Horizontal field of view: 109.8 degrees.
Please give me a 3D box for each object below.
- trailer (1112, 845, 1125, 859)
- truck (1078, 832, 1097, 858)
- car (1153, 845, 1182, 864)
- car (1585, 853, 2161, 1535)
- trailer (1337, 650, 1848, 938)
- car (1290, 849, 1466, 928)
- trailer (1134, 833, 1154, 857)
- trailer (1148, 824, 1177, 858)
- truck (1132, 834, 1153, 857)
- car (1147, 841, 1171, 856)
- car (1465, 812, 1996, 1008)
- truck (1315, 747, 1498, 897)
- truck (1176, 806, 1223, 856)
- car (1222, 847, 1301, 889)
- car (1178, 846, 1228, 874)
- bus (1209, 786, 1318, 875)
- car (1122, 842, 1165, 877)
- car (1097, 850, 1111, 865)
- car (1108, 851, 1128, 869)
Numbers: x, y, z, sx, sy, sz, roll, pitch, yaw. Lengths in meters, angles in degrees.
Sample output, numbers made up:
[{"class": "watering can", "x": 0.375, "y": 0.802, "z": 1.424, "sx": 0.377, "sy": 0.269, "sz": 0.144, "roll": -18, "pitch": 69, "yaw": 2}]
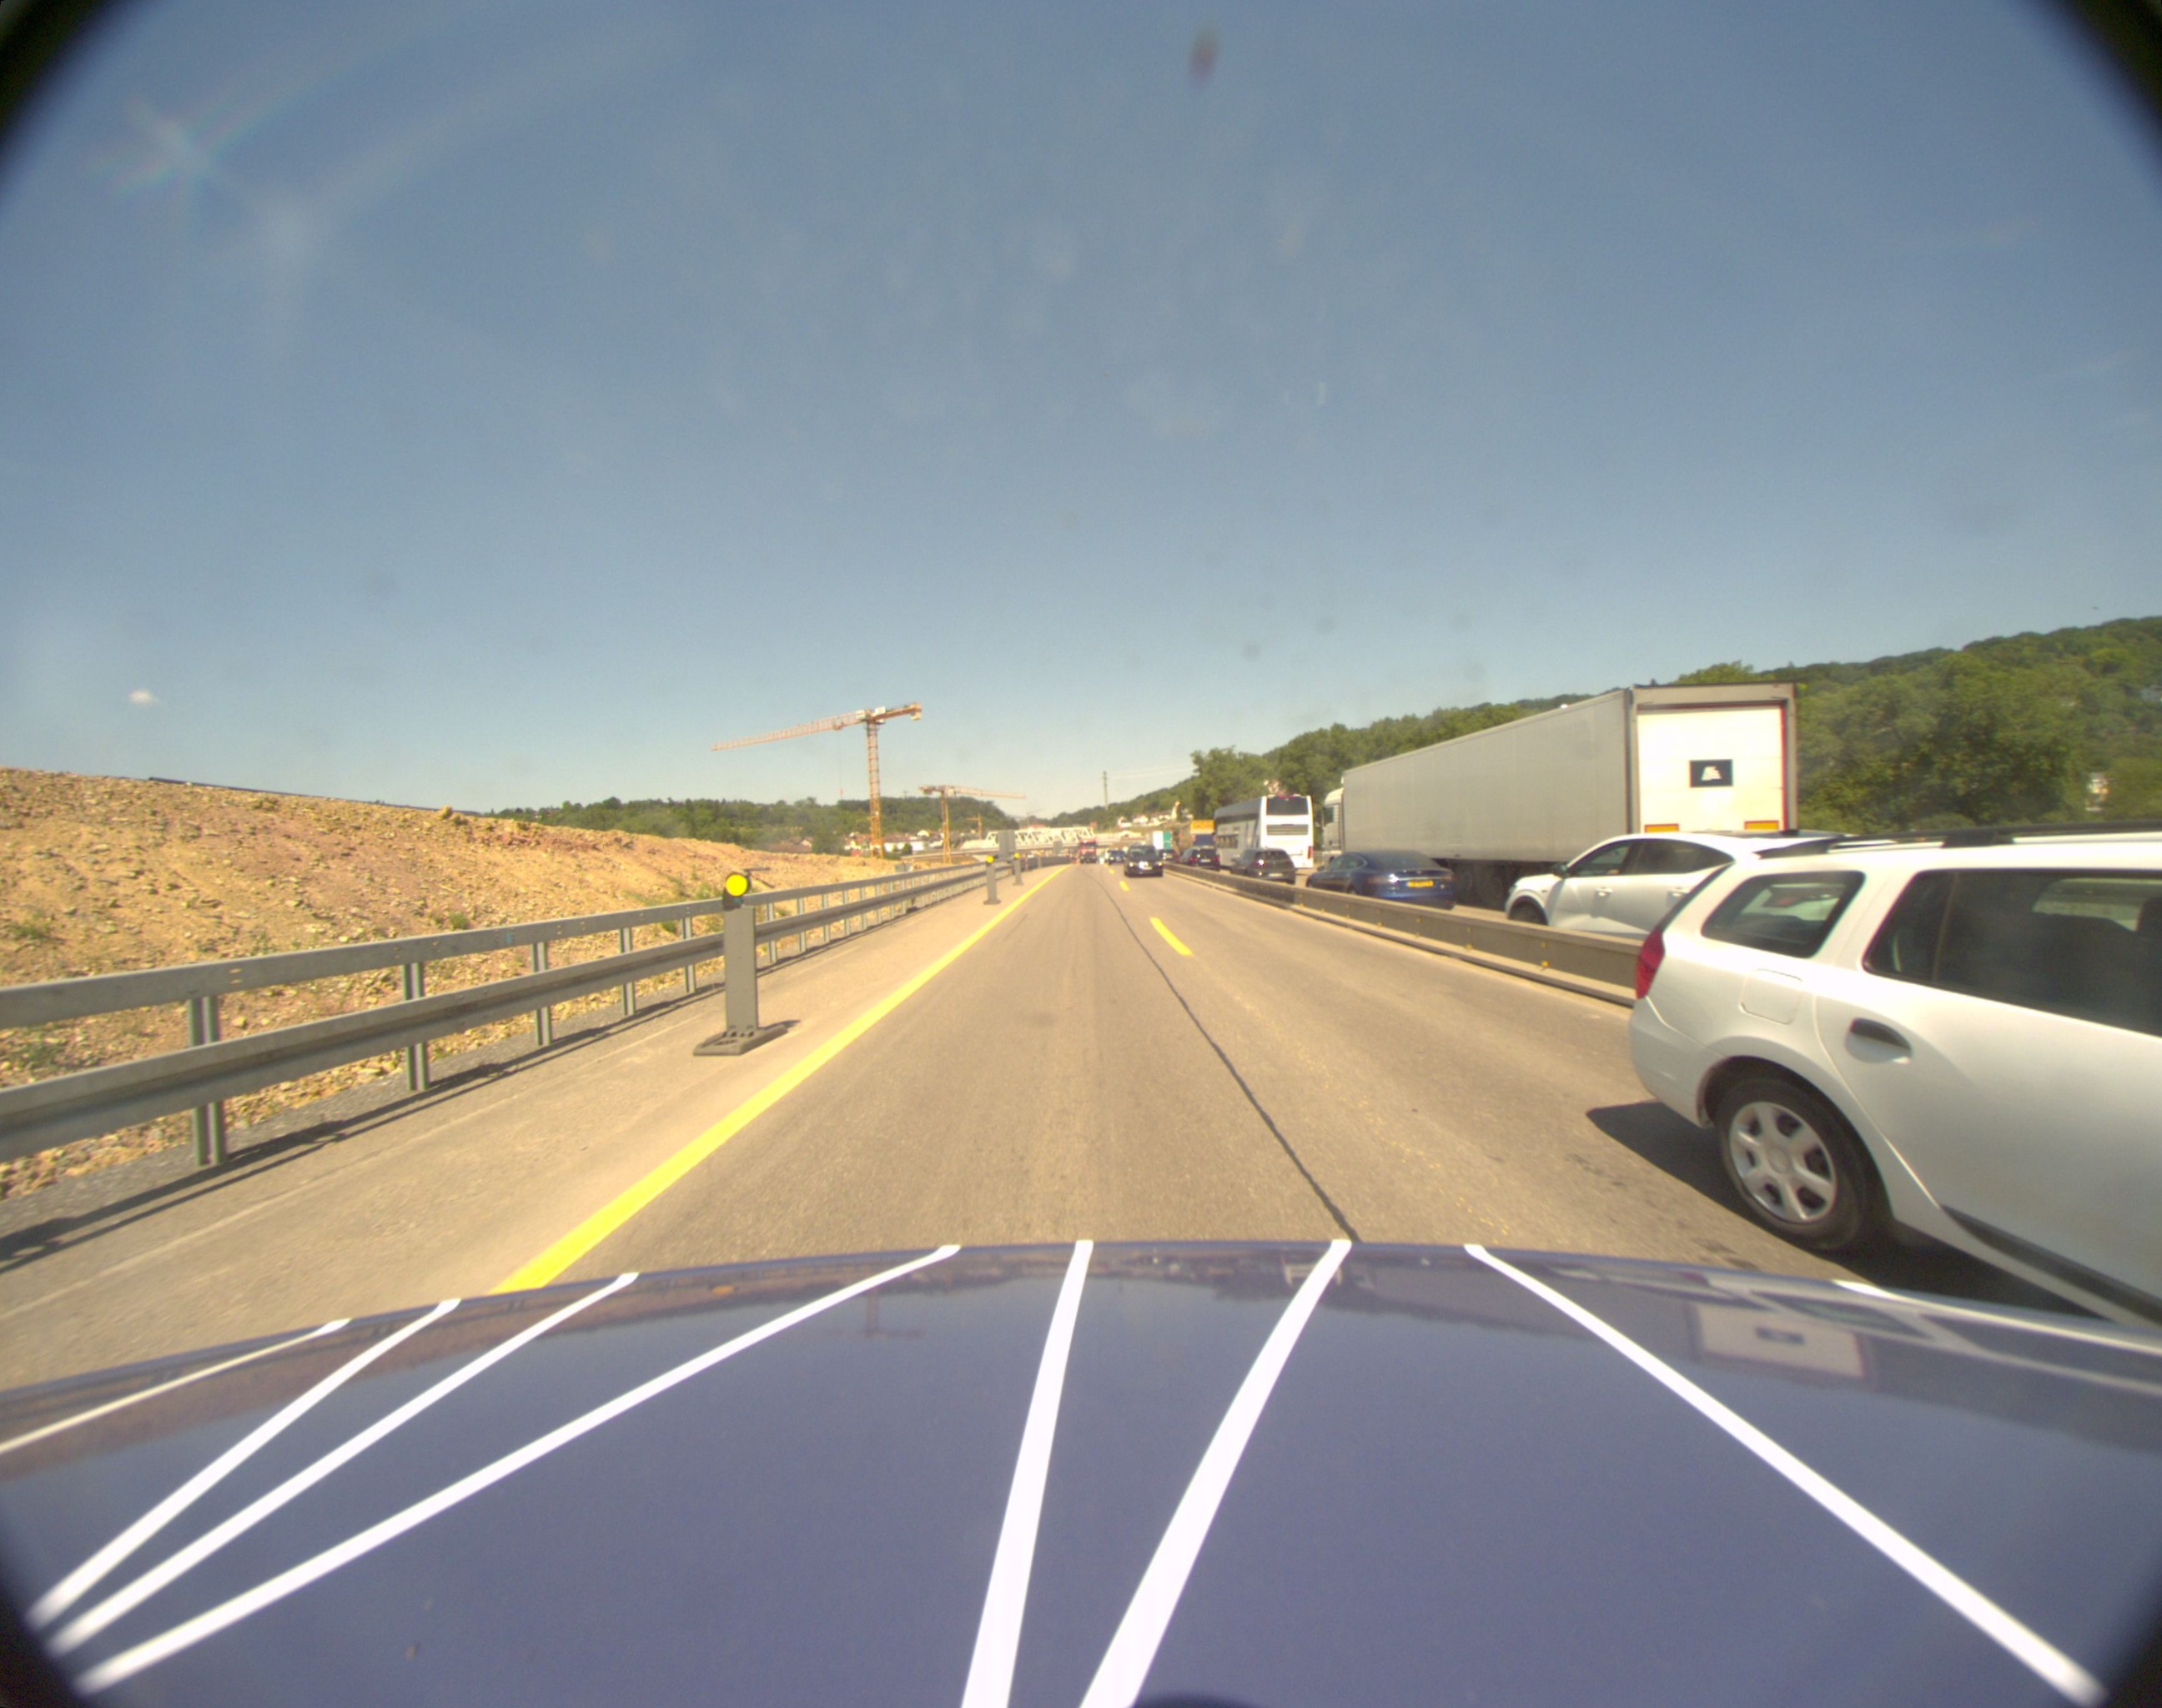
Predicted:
[{"class": "trailer", "x": 11.654, "y": -0.547, "z": 234.864, "sx": 2.814, "sy": 4.151, "sz": 11.798, "roll": -2, "pitch": -1, "yaw": -2}, {"class": "truck", "x": 1.076, "y": -1.383, "z": 115.891, "sx": 2.702, "sy": 3.704, "sz": 8.508, "roll": -2, "pitch": 0, "yaw": 2}, {"class": "car", "x": 6.971, "y": 0.013, "z": 61.624, "sx": 1.843, "sy": 1.435, "sz": 4.929, "roll": -1, "pitch": 1, "yaw": 0}, {"class": "car", "x": 3.427, "y": 0.816, "z": 1.403, "sx": 1.823, "sy": 1.521, "sz": 4.705, "roll": -2, "pitch": 1, "yaw": -1}, {"class": "trailer", "x": 10.292, "y": -0.942, "z": 18.786, "sx": 3.148, "sy": 4.358, "sz": 14.077, "roll": -2, "pitch": 0, "yaw": 0}, {"class": "car", "x": 6.363, "y": 0.697, "z": 17.053, "sx": 1.817, "sy": 1.429, "sz": 5.121, "roll": -3, "pitch": -1, "yaw": -1}, {"class": "trailer", "x": 12.286, "y": -1.694, "z": 149.609, "sx": 3.109, "sy": 4.438, "sz": 13.021, "roll": -1, "pitch": -1, "yaw": 1}, {"class": "trailer", "x": 11.270, "y": -1.796, "z": 106.352, "sx": 2.822, "sy": 4.404, "sz": 13.168, "roll": -1, "pitch": 0, "yaw": 1}, {"class": "truck", "x": 10.638, "y": -1.400, "z": 131.332, "sx": 2.911, "sy": 3.742, "sz": 8.369, "roll": -3, "pitch": -1, "yaw": 1}, {"class": "car", "x": 7.988, "y": -0.548, "z": 78.049, "sx": 1.864, "sy": 1.485, "sz": 4.903, "roll": 0, "pitch": 0, "yaw": -1}, {"class": "car", "x": 6.788, "y": 0.471, "z": 8.930, "sx": 1.999, "sy": 1.611, "sz": 4.881, "roll": -2, "pitch": 0, "yaw": -1}, {"class": "truck", "x": 10.311, "y": -0.895, "z": 25.010, "sx": 3.105, "sy": 4.173, "sz": 6.702, "roll": -2, "pitch": 0, "yaw": 1}, {"class": "truck", "x": 10.417, "y": -1.940, "z": 67.920, "sx": 2.809, "sy": 4.128, "sz": 10.079, "roll": -1, "pitch": 0, "yaw": 1}, {"class": "car", "x": 6.791, "y": 0.481, "z": 29.128, "sx": 1.837, "sy": 1.415, "sz": 4.682, "roll": -2, "pitch": 1, "yaw": -1}, {"class": "car", "x": 6.812, "y": 0.332, "z": 42.899, "sx": 1.923, "sy": 1.414, "sz": 5.090, "roll": -3, "pitch": 0, "yaw": 0}, {"class": "bus", "x": 10.032, "y": -1.234, "z": 43.911, "sx": 2.746, "sy": 4.239, "sz": 14.473, "roll": -2, "pitch": 1, "yaw": 0}, {"class": "car", "x": 3.284, "y": 0.251, "z": 40.482, "sx": 1.862, "sy": 1.683, "sz": 4.096, "roll": -2, "pitch": 1, "yaw": -1}, {"class": "car", "x": 3.084, "y": 0.525, "z": 103.712, "sx": 1.791, "sy": 1.870, "sz": 4.001, "roll": -3, "pitch": -1, "yaw": 1}, {"class": "car", "x": 3.578, "y": 0.562, "z": 73.712, "sx": 1.791, "sy": 1.578, "sz": 4.001, "roll": -3, "pitch": -1, "yaw": 1}]
